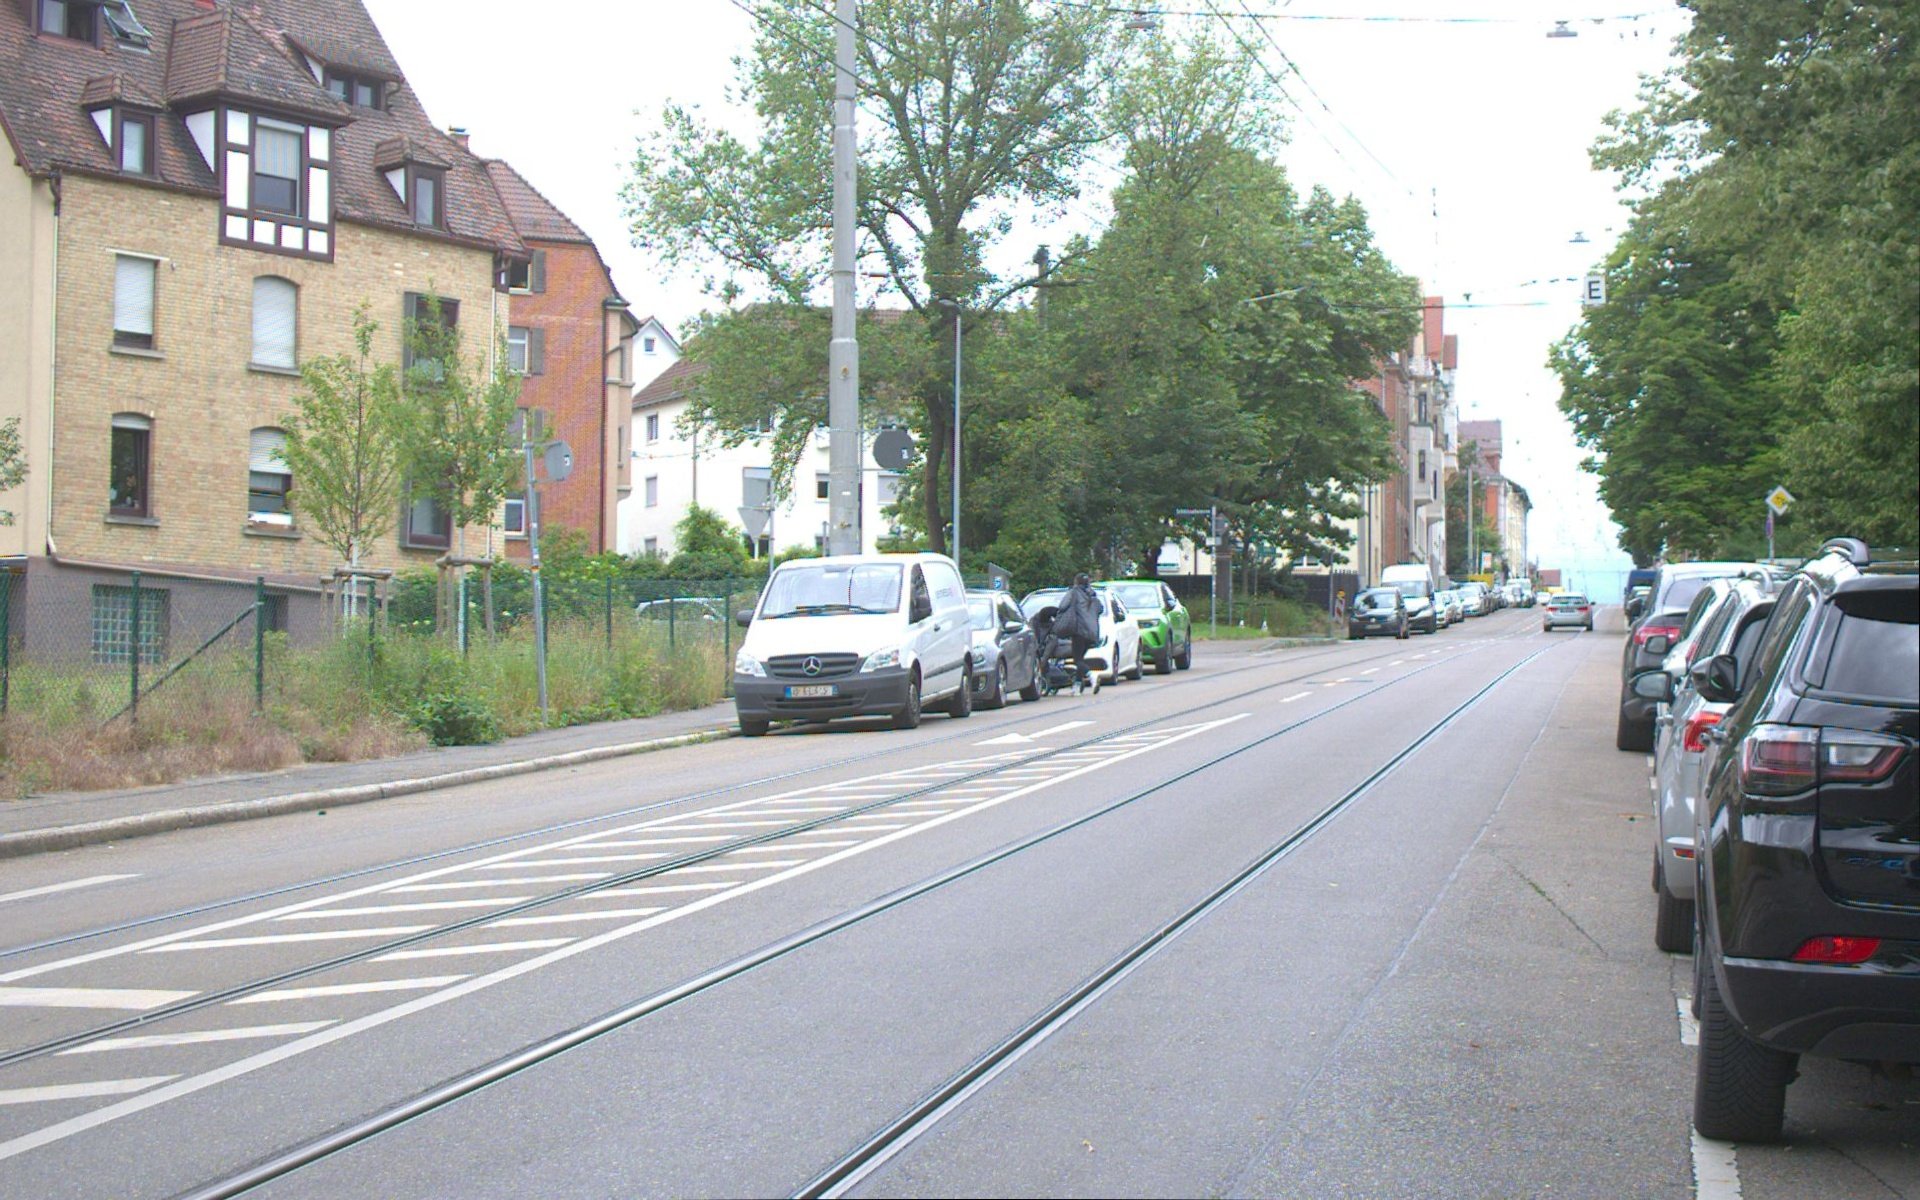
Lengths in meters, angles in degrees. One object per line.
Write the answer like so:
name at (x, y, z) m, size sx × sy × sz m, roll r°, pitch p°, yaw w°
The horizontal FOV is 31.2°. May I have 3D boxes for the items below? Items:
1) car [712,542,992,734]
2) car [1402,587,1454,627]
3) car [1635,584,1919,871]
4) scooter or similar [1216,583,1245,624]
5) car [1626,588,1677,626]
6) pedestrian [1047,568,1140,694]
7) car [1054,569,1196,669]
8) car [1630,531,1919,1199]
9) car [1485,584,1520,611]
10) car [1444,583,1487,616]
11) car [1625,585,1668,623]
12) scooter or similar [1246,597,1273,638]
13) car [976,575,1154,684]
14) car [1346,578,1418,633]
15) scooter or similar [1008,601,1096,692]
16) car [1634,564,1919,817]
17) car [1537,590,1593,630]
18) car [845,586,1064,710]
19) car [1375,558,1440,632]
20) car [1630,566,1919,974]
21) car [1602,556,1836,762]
car at (-1.089, 0.416, 37.534) m, size 2.036 × 1.875 × 4.883 m, roll -3°, pitch -1°, yaw 10°
car at (19.155, 0.284, 140.643) m, size 1.994 × 1.595 × 4.310 m, roll 1°, pitch 0°, yaw 9°
car at (5.034, 0.694, 20.914) m, size 1.630 × 1.511 × 4.062 m, roll 3°, pitch 1°, yaw 9°
scooter or similar at (8.861, 0.111, 112.584) m, size 0.691 × 1.334 × 1.638 m, roll 1°, pitch -1°, yaw 12°
car at (28.778, 0.309, 142.974) m, size 1.994 × 1.525 × 4.309 m, roll 1°, pitch -1°, yaw 12°
pedestrian at (1.747, 0.404, 44.981) m, size 0.805 × 1.623 × 0.916 m, roll 1°, pitch -1°, yaw -37°
car at (2.767, 0.301, 56.830) m, size 1.724 × 1.574 × 4.178 m, roll -1°, pitch 0°, yaw 11°
car at (3.081, 0.650, 10.460) m, size 1.905 × 1.609 × 4.597 m, roll 1°, pitch 0°, yaw 12°
car at (33.473, -0.140, 212.239) m, size 1.994 × 1.596 × 3.998 m, roll 1°, pitch -1°, yaw 11°
car at (25.513, -0.018, 173.541) m, size 1.925 × 1.596 × 3.998 m, roll 1°, pitch -1°, yaw 11°
car at (32.579, 0.199, 163.084) m, size 1.994 × 1.711 × 3.998 m, roll 0°, pitch -1°, yaw 12°
scooter or similar at (9.791, 0.579, 112.388) m, size 0.691 × 1.334 × 1.638 m, roll 1°, pitch -1°, yaw 12°
car at (1.623, 0.428, 51.322) m, size 1.886 × 1.521 × 4.661 m, roll -1°, pitch 0°, yaw 11°
car at (14.298, 0.188, 116.329) m, size 1.995 × 1.802 × 3.997 m, roll 1°, pitch -1°, yaw 13°
scooter or similar at (1.217, 0.619, 45.667) m, size 0.805 × 1.192 × 0.839 m, roll 1°, pitch -1°, yaw -37°
car at (6.024, 0.606, 25.703) m, size 1.727 × 1.626 × 4.086 m, roll 4°, pitch 1°, yaw 10°
car at (22.978, 0.388, 130.512) m, size 1.994 × 1.493 × 4.310 m, roll 1°, pitch -1°, yaw 11°
car at (-0.007, 0.567, 43.233) m, size 1.897 × 1.428 × 4.509 m, roll -1°, pitch 0°, yaw 11°
car at (17.014, -0.162, 130.559) m, size 2.231 × 2.755 × 5.797 m, roll 1°, pitch -1°, yaw 9°
car at (3.916, 0.658, 15.476) m, size 1.734 × 1.570 × 4.362 m, roll 1°, pitch 0°, yaw 11°
car at (6.943, 0.485, 31.663) m, size 1.878 × 1.672 × 5.060 m, roll 2°, pitch 1°, yaw 12°
